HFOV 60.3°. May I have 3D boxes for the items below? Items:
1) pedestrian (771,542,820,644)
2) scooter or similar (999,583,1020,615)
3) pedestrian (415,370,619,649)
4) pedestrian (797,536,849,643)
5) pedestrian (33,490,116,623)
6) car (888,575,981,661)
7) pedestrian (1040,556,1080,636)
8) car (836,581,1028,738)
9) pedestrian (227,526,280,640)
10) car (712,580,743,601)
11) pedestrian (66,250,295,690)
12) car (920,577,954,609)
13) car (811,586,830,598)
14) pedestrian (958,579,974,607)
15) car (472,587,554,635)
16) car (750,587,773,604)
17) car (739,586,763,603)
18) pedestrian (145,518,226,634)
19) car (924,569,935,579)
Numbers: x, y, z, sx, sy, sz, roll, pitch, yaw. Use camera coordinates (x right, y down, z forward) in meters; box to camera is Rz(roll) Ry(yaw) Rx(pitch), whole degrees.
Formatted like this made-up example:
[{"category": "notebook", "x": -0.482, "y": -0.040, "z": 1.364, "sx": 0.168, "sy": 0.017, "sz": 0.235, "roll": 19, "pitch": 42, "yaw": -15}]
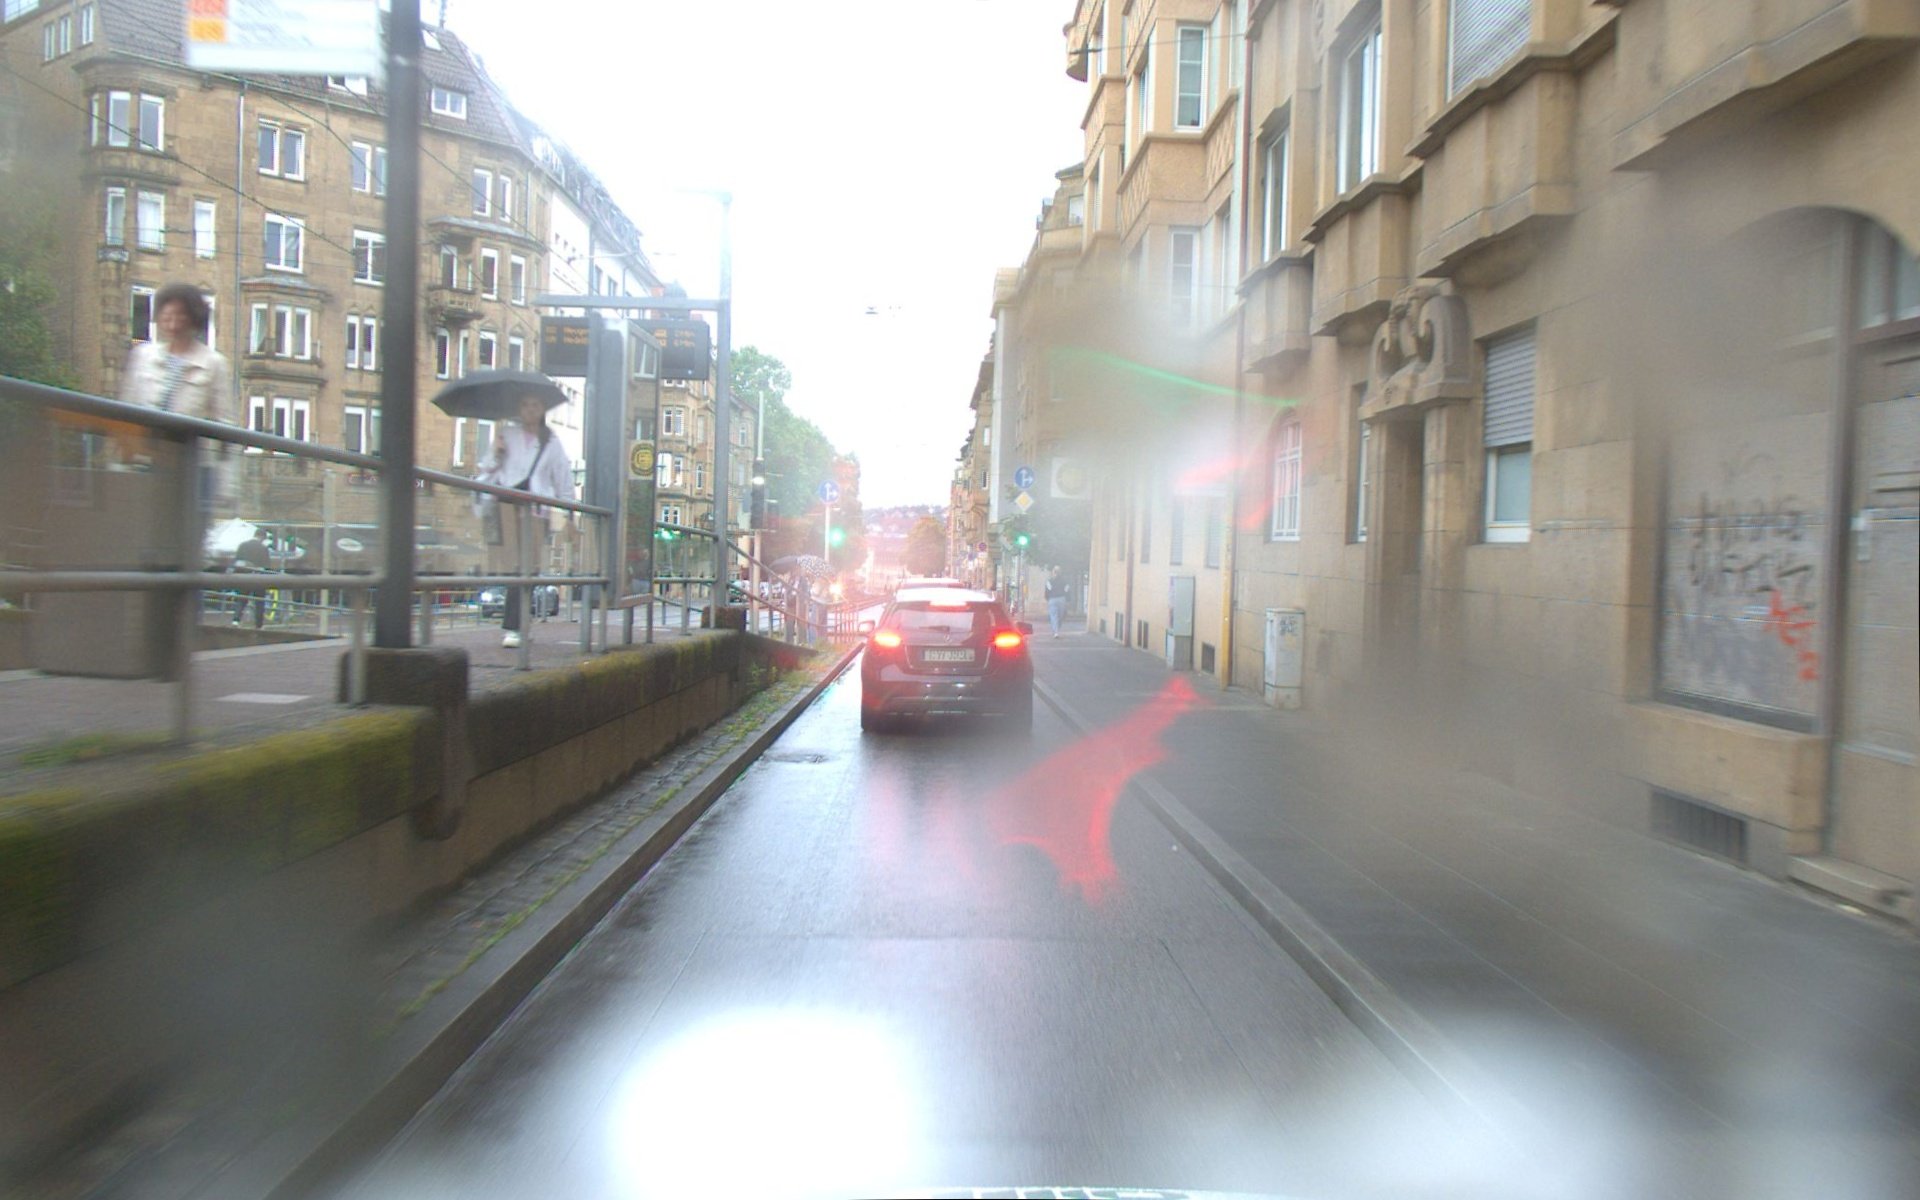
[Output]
[{"category": "pedestrian", "x": -3.377, "y": -0.140, "z": 34.063, "sx": 0.879, "sy": 2.049, "sz": 0.947, "roll": 1, "pitch": 0, "yaw": -1}, {"category": "scooter or similar", "x": 1.946, "y": -0.055, "z": 64.728, "sx": 0.625, "sy": 1.231, "sz": 1.551, "roll": 0, "pitch": 0, "yaw": -5}, {"category": "pedestrian", "x": -3.029, "y": -0.599, "z": 11.437, "sx": 1.091, "sy": 1.805, "sz": 1.111, "roll": 1, "pitch": 0, "yaw": -1}, {"category": "pedestrian", "x": -2.695, "y": -0.203, "z": 32.601, "sx": 0.907, "sy": 2.049, "sz": 0.947, "roll": 1, "pitch": 0, "yaw": -1}, {"category": "pedestrian", "x": -11.479, "y": -0.553, "z": 21.459, "sx": 0.728, "sy": 1.676, "sz": 0.640, "roll": -1, "pitch": -2, "yaw": -1}, {"category": "car", "x": -0.422, "y": 0.290, "z": 31.149, "sx": 1.615, "sy": 1.477, "sz": 4.000, "roll": 1, "pitch": 1, "yaw": 1}, {"category": "pedestrian", "x": 2.421, "y": -0.104, "z": 39.960, "sx": 0.880, "sy": 1.872, "sz": 0.969, "roll": -3, "pitch": 0, "yaw": 4}, {"category": "car", "x": -0.251, "y": 0.554, "z": 17.964, "sx": 1.828, "sy": 1.477, "sz": 4.000, "roll": 1, "pitch": 1, "yaw": 1}, {"category": "pedestrian", "x": -11.706, "y": -0.274, "z": 27.416, "sx": 0.500, "sy": 1.850, "sz": 0.799, "roll": 1, "pitch": 0, "yaw": -1}, {"category": "car", "x": -17.517, "y": -0.747, "z": 124.795, "sx": 1.687, "sy": 1.568, "sz": 3.934, "roll": 0, "pitch": 0, "yaw": 1}, {"category": "pedestrian", "x": -3.369, "y": -0.542, "z": 7.206, "sx": 0.630, "sy": 1.805, "sz": 0.710, "roll": 1, "pitch": 0, "yaw": -1}, {"category": "car", "x": -1.204, "y": -0.369, "z": 85.594, "sx": 1.729, "sy": 1.586, "sz": 4.744, "roll": 0, "pitch": 0, "yaw": -1}, {"category": "car", "x": -16.370, "y": -0.939, "z": 193.727, "sx": 1.908, "sy": 1.421, "sz": 4.273, "roll": -1, "pitch": 0, "yaw": -1}, {"category": "pedestrian", "x": 0.374, "y": -0.439, "z": 106.318, "sx": 0.926, "sy": 1.800, "sz": 1.014, "roll": 0, "pitch": 0, "yaw": -3}, {"category": "car", "x": -15.370, "y": 0.347, "z": 57.072, "sx": 1.610, "sy": 1.523, "sz": 4.763, "roll": 1, "pitch": 1, "yaw": -1}, {"category": "car", "x": -17.201, "y": -0.415, "z": 143.161, "sx": 1.537, "sy": 1.438, "sz": 3.481, "roll": 0, "pitch": 0, "yaw": 1}, {"category": "car", "x": -17.460, "y": -0.459, "z": 138.106, "sx": 1.537, "sy": 1.339, "sz": 3.481, "roll": 0, "pitch": 0, "yaw": 1}, {"category": "pedestrian", "x": -11.089, "y": -0.328, "z": 23.702, "sx": 0.678, "sy": 1.611, "sz": 0.956, "roll": 1, "pitch": -1, "yaw": -1}, {"category": "car", "x": -4.340, "y": -3.688, "z": 236.848, "sx": 1.581, "sy": 1.340, "sz": 3.999, "roll": 2, "pitch": 0, "yaw": -1}]
